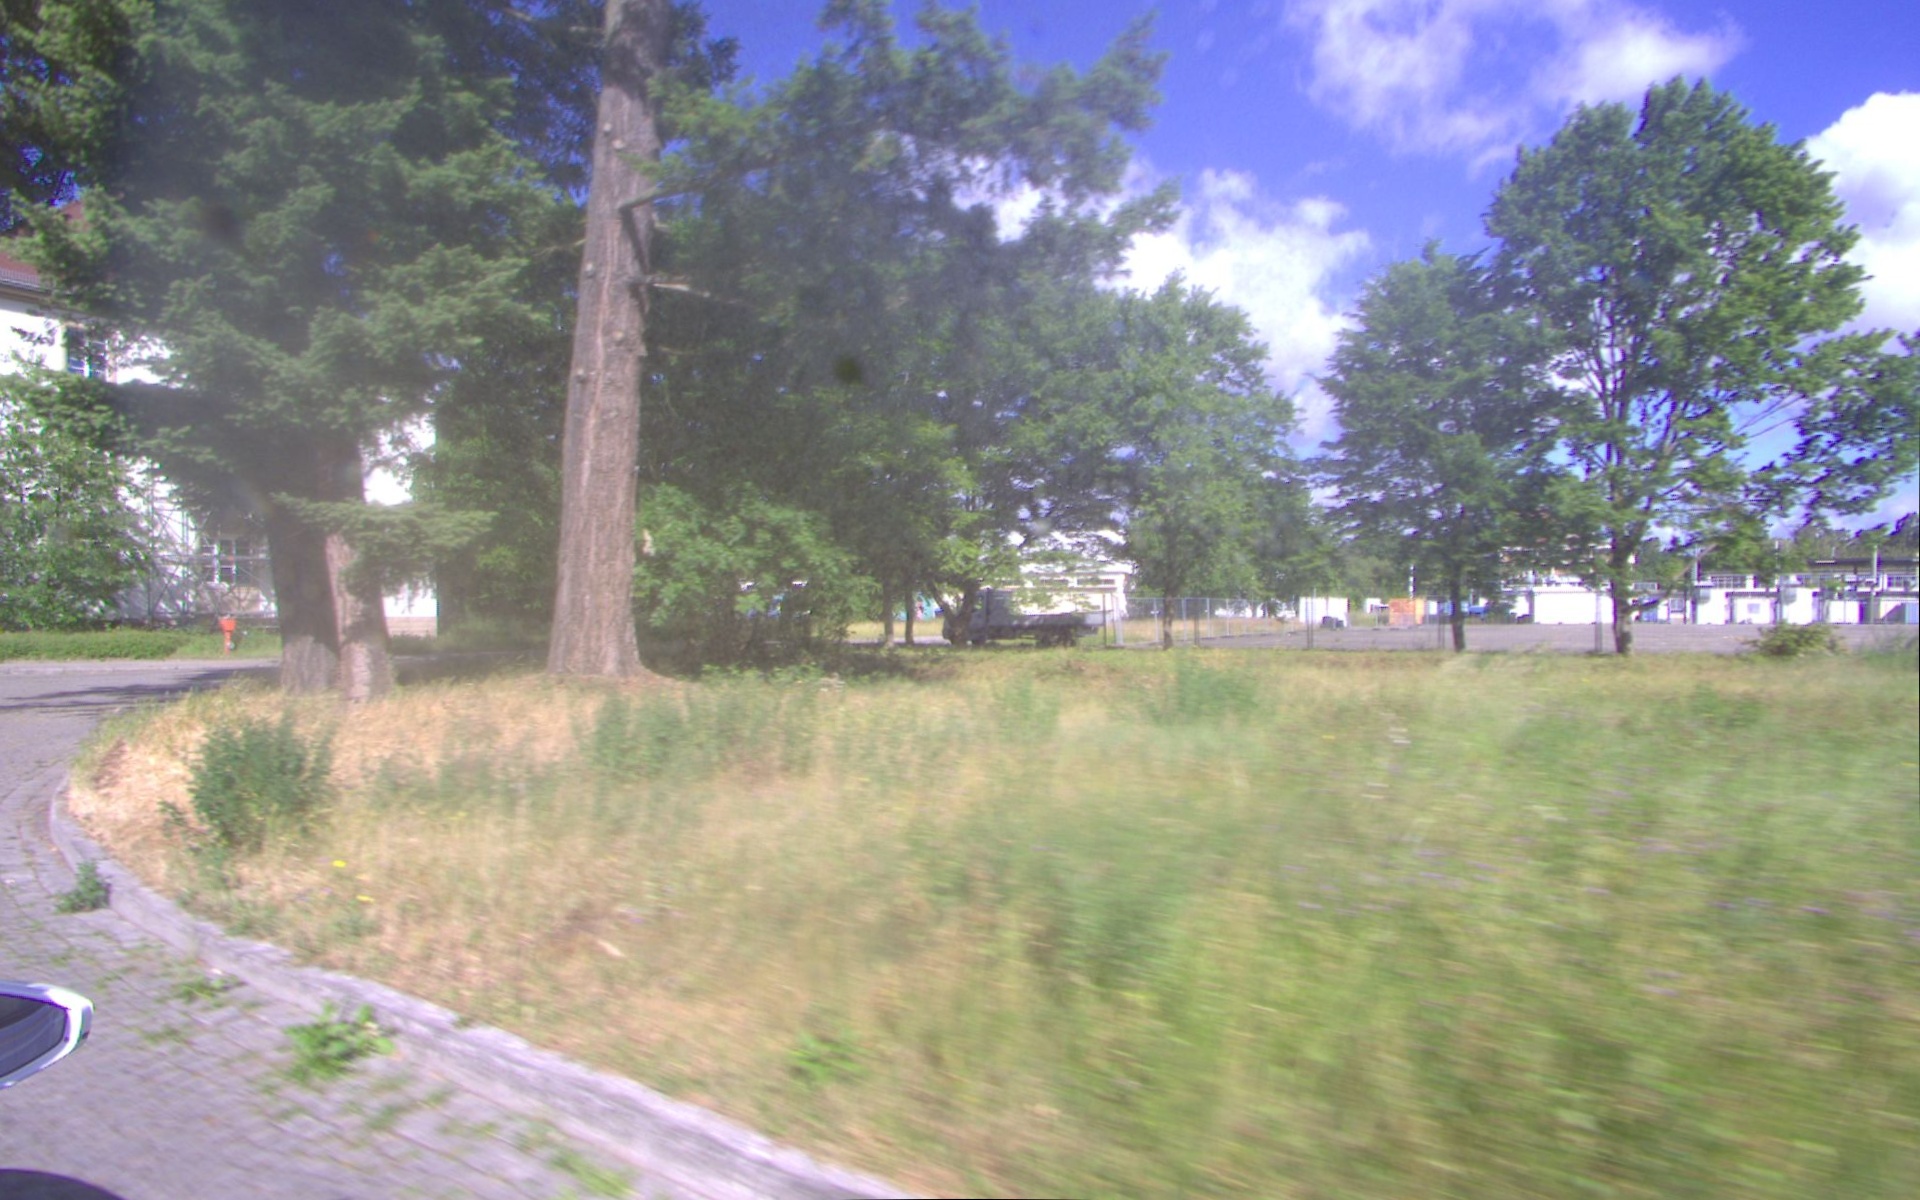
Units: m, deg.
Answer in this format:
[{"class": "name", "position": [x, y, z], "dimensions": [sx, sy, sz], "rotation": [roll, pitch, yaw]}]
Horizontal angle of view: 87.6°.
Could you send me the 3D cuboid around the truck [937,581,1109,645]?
[{"class": "truck", "position": [2.485, 0.539, 40.878], "dimensions": [6.787, 2.455, 2.229], "rotation": [0, -1, 32]}]
